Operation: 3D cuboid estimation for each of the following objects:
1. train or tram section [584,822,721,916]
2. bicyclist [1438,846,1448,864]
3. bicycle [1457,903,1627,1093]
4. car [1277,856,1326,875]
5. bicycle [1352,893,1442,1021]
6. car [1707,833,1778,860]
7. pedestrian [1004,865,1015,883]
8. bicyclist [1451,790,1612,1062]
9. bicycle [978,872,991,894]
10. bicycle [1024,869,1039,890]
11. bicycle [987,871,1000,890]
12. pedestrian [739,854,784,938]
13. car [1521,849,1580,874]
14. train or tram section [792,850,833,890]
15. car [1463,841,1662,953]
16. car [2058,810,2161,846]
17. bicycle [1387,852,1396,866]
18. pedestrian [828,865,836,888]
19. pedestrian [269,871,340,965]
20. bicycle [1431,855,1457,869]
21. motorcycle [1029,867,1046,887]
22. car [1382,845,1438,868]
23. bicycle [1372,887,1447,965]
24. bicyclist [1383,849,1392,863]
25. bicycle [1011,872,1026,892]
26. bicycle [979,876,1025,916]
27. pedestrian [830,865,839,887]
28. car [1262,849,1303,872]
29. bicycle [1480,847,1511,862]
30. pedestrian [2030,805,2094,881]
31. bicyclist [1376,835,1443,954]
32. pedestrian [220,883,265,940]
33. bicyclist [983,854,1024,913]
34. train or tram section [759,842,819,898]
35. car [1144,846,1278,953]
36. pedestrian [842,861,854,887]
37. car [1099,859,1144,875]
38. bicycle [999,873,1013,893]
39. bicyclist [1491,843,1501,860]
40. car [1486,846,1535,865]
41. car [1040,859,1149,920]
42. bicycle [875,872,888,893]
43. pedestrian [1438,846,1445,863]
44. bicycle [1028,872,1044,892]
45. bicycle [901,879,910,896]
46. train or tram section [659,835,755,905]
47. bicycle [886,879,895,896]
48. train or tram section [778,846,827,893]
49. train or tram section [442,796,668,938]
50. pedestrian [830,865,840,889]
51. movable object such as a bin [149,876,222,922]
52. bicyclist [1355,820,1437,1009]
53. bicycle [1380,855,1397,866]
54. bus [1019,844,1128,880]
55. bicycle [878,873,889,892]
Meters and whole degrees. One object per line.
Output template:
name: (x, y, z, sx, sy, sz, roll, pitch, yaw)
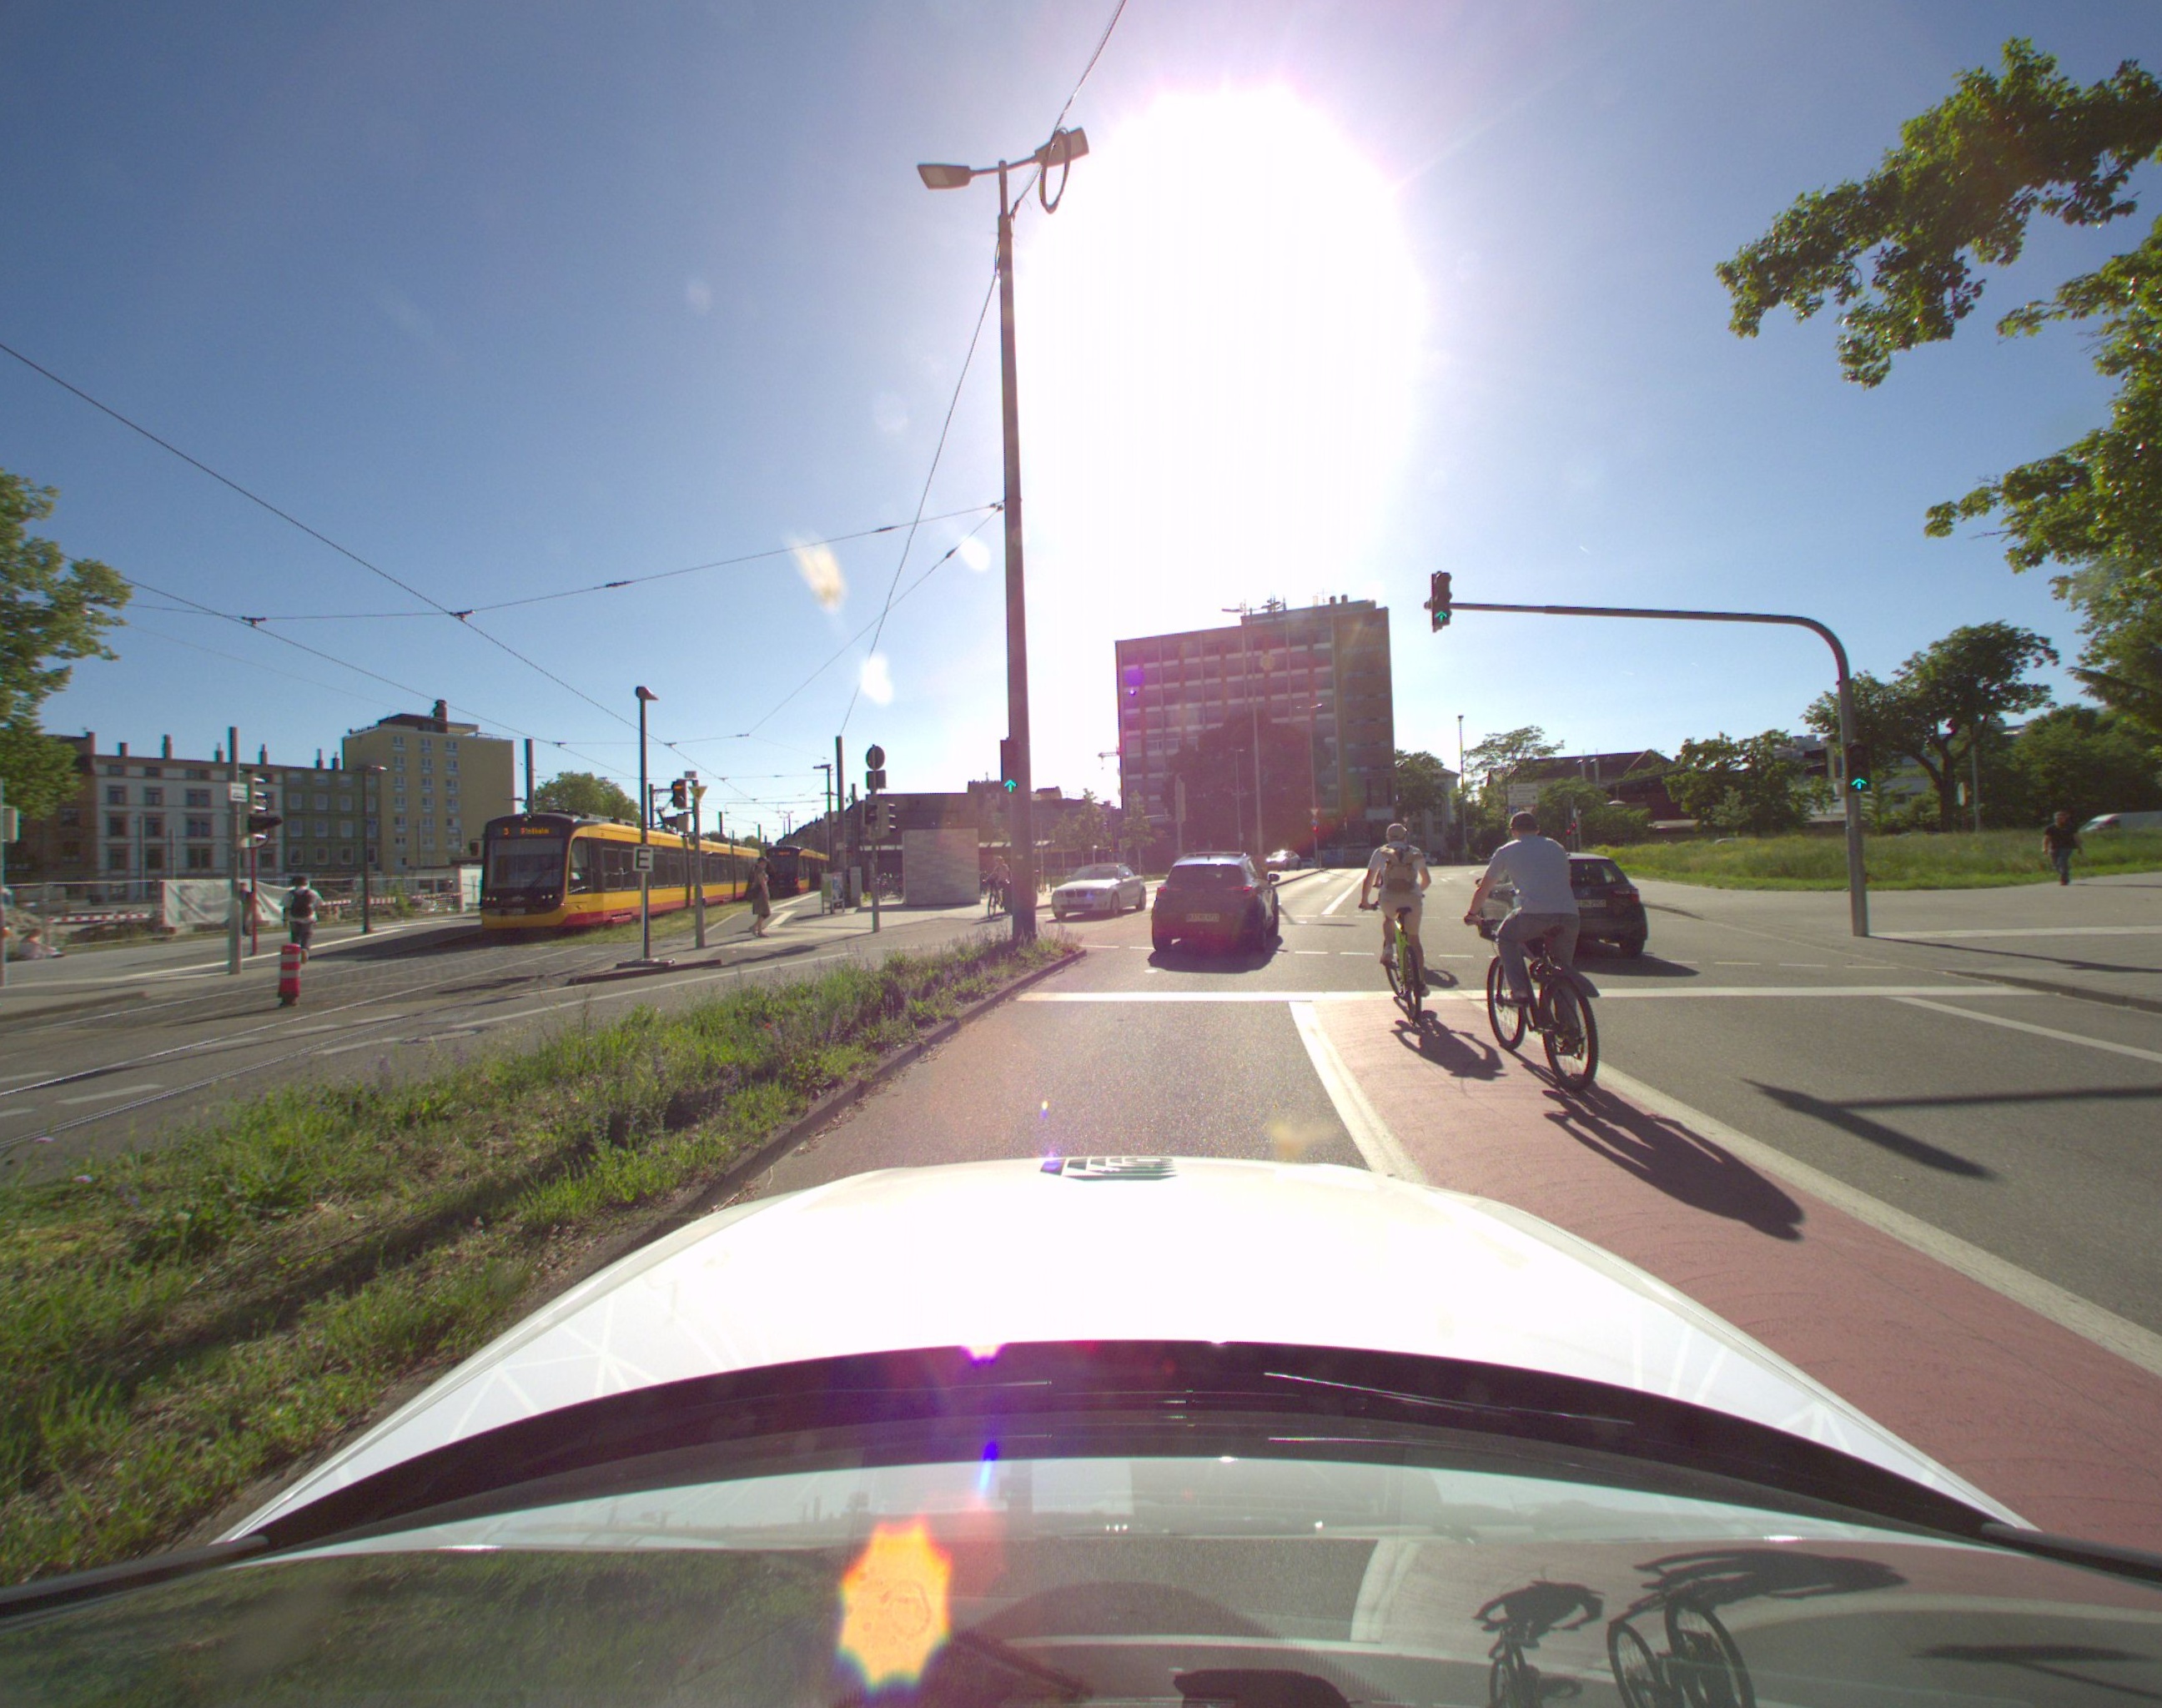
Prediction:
train or tram section: (-18.444, 0.640, 35.937, 2.820, 3.508, 10.561, -1, -1, -13)
bicyclist: (38.763, 0.126, 87.133, 0.848, 1.846, 0.856, -2, -2, 30)
bicycle: (3.283, 0.948, 5.980, 0.606, 1.077, 1.837, -2, -1, 14)
car: (23.514, 1.252, 86.791, 4.605, 1.900, 2.012, -2, -2, 38)
bicycle: (3.124, 0.953, 8.186, 0.658, 1.047, 1.898, 0, -1, 16)
car: (55.545, -0.604, 68.457, 4.306, 2.014, 2.012, -2, -2, 31)
pedestrian: (-6.964, 1.917, 79.648, 0.647, 1.741, 0.793, -3, -3, 37)
bicyclist: (3.202, 0.481, 5.898, 0.744, 1.776, 1.018, -2, -1, 14)
bicycle: (-4.783, 1.431, 40.308, 0.580, 1.058, 1.810, -1, -2, -9)
bicycle: (-2.635, 1.343, 43.087, 0.580, 1.052, 1.966, -1, -2, -9)
bicycle: (-4.983, 1.514, 46.338, 0.580, 1.088, 2.052, -1, -2, -9)
pedestrian: (-7.425, 0.957, 18.921, 0.903, 1.850, 0.758, -2, 1, -22)
car: (41.336, 0.699, 71.763, 4.330, 2.014, 2.012, -2, -2, 30)
train or tram section: (-25.176, 1.492, 76.832, 2.875, 3.508, 10.490, -1, -1, -14)
car: (7.543, 0.640, 13.168, 1.743, 1.542, 3.672, -1, -1, 14)
car: (76.606, -1.932, 58.990, 7.085, 2.423, 2.087, -3, -1, 29)
bicycle: (35.998, 0.586, 94.420, 0.874, 1.541, 2.824, -2, -2, 20)
pedestrian: (-20.736, 1.886, 67.866, 0.634, 1.857, 0.698, 0, -2, -19)
pedestrian: (-15.974, 1.287, 16.786, 0.762, 1.832, 1.011, -1, -2, -25)
bicycle: (38.785, 0.841, 87.110, 2.427, 1.370, 0.856, -2, -2, 30)
motorcycle: (-2.625, 1.379, 48.780, 0.552, 1.177, 1.910, 0, -2, -17)
car: (31.456, 0.303, 77.866, 4.606, 2.014, 2.012, -2, -2, 30)
bicycle: (4.700, 0.995, 11.768, 0.717, 0.960, 1.891, -2, -1, 14)
bicyclist: (34.225, 0.214, 90.908, 0.813, 1.444, 0.620, -2, -1, 2)
bicycle: (-3.158, 1.418, 40.798, 0.580, 0.961, 2.052, -1, -2, -9)
bicycle: (-2.295, 1.217, 23.921, 0.768, 1.080, 2.041, -3, -1, 11)
pedestrian: (-20.979, 1.886, 69.296, 0.632, 1.857, 0.700, -1, -2, -9)
car: (15.802, 0.498, 63.827, 1.800, 1.568, 4.277, -4, -1, 31)
bicycle: (42.831, 0.062, 84.090, 2.776, 1.541, 0.889, -2, -2, 24)
pedestrian: (24.460, -0.263, 20.305, 1.052, 1.832, 0.753, -2, -2, -29)
bicyclist: (4.676, 0.556, 11.644, 0.716, 1.626, 1.059, -1, -1, 13)
pedestrian: (-27.154, 1.835, 26.374, 0.669, 1.767, 0.796, -2, -1, -15)
bicyclist: (-2.269, 0.857, 23.882, 0.874, 1.644, 1.063, -3, -1, 11)
train or tram section: (-20.090, 1.099, 56.535, 2.875, 3.508, 10.490, -1, -1, -14)
car: (2.398, 0.702, 14.255, 1.809, 1.600, 3.675, -1, -1, 17)
pedestrian: (-17.448, 1.488, 60.898, 0.849, 1.883, 0.756, 0, -2, -16)
car: (4.167, 1.343, 84.560, 4.354, 1.522, 1.982, -2, -2, 38)
bicycle: (-3.768, 1.426, 40.701, 0.580, 0.961, 2.052, -1, -2, -9)
bicyclist: (42.847, -0.264, 84.083, 0.850, 1.692, 0.889, -2, -2, 24)
car: (40.405, 0.177, 76.603, 3.857, 1.586, 1.891, -2, -2, 32)
car: (0.487, 0.935, 22.815, 1.785, 1.393, 4.113, -2, 1, 20)
bicycle: (-10.619, 1.505, 43.460, 0.566, 1.093, 2.021, -1, -2, -11)
pedestrian: (37.259, 0.051, 84.233, 0.550, 1.670, 0.479, -2, -3, 36)
bicycle: (-2.275, 1.411, 41.055, 0.580, 0.961, 2.052, -1, -2, -9)
bicycle: (-9.820, 1.855, 45.518, 0.422, 0.938, 1.299, 0, -1, -15)
train or tram section: (-20.966, 0.895, 46.412, 2.820, 3.508, 11.157, -1, -1, -13)
bicycle: (-10.558, 1.857, 45.173, 0.422, 0.938, 1.299, 0, -1, -15)
train or tram section: (-22.639, 1.288, 66.614, 2.875, 3.508, 10.490, -1, -1, -14)
train or tram section: (-15.943, 0.402, 25.860, 2.822, 3.508, 10.425, -2, -1, -15)
pedestrian: (-18.801, 1.756, 62.231, 0.604, 1.857, 0.791, 0, -2, -12)
movable object such as a bin: (-55.780, 2.801, 50.710, 3.951, 2.796, 1.843, -2, -2, 24)
bicyclist: (3.113, 0.560, 8.113, 0.659, 1.747, 1.010, 0, -1, 16)
bicycle: (34.324, 0.718, 90.903, 1.660, 1.093, 0.611, -3, -1, 2)
bus: (-0.954, 0.899, 84.565, 12.285, 3.396, 2.900, -3, -3, 39)
bicycle: (-12.062, 1.731, 49.739, 0.566, 1.093, 2.021, -1, -2, -11)
